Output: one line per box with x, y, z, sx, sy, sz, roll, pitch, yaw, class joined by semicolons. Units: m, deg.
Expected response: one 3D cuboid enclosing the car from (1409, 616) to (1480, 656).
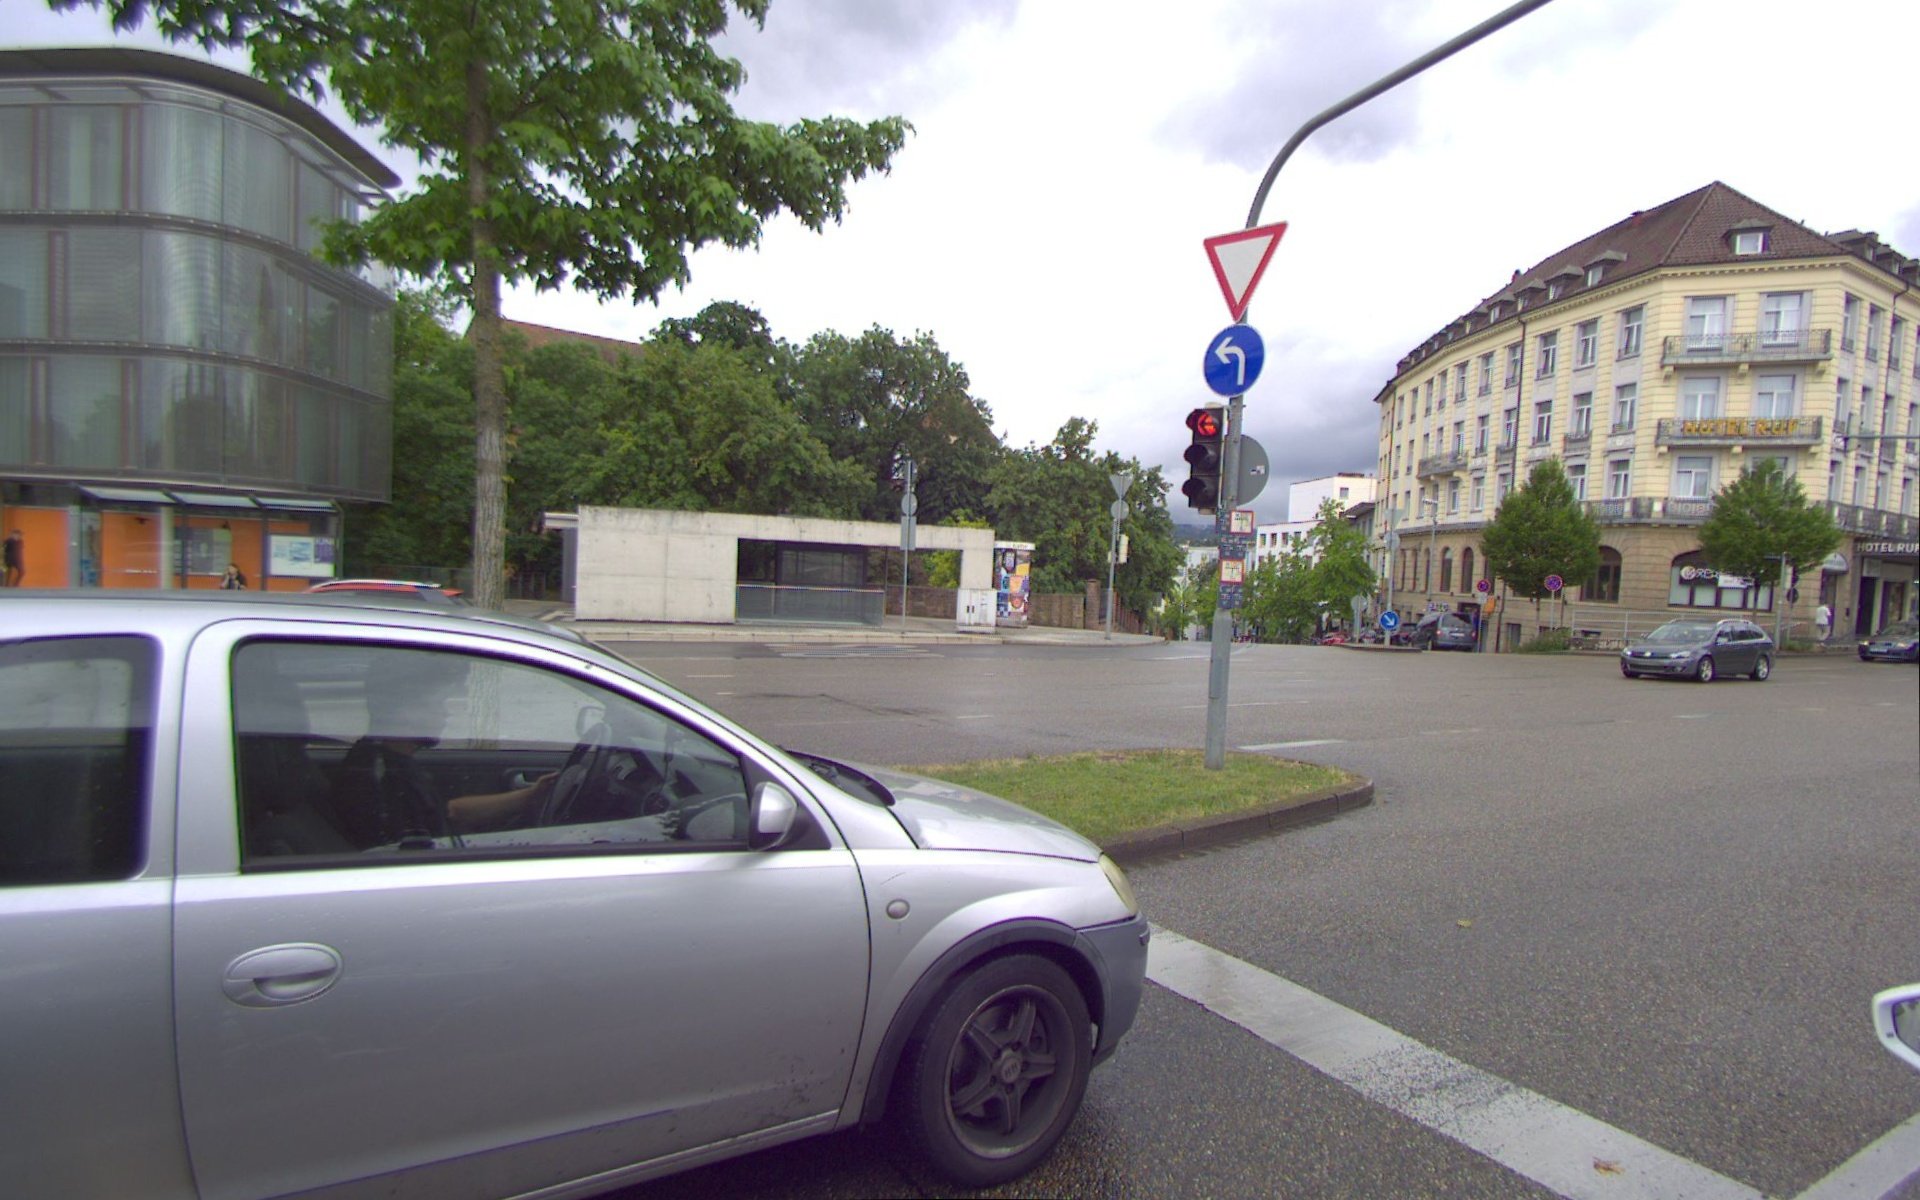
21.733;1.571;45.193;1.764;1.589;4.002;2;1;9;car

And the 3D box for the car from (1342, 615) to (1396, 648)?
23.162;1.767;56.998;1.757;1.662;3.916;2;1;6;car

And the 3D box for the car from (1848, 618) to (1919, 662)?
33.174;1.383;34.974;4.000;1.387;1.751;1;1;-22;car

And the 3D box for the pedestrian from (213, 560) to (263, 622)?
-16.085;-0.196;22.386;0.780;1.341;0.798;1;1;-28;pedestrian

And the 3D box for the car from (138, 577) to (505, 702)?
-8.389;0.508;13.638;3.974;1.496;1.625;2;1;-27;car

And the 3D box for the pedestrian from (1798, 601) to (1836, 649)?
35.231;1.015;41.282;1.010;1.903;0.859;1;1;-30;pedestrian

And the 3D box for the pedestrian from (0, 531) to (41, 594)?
-25.591;-1.007;27.168;0.834;1.675;0.708;2;1;13;pedestrian

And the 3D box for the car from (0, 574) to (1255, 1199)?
-1.180;0.716;2.530;3.693;1.478;1.614;2;1;-32;car

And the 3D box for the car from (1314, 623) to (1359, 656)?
23.585;2.471;63.053;1.741;1.836;3.624;2;1;7;car

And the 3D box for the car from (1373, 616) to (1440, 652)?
22.906;1.712;51.700;1.959;1.662;4.002;2;0;6;car

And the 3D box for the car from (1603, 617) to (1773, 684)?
17.786;1.175;24.534;4.008;1.460;1.748;1;1;-28;car
